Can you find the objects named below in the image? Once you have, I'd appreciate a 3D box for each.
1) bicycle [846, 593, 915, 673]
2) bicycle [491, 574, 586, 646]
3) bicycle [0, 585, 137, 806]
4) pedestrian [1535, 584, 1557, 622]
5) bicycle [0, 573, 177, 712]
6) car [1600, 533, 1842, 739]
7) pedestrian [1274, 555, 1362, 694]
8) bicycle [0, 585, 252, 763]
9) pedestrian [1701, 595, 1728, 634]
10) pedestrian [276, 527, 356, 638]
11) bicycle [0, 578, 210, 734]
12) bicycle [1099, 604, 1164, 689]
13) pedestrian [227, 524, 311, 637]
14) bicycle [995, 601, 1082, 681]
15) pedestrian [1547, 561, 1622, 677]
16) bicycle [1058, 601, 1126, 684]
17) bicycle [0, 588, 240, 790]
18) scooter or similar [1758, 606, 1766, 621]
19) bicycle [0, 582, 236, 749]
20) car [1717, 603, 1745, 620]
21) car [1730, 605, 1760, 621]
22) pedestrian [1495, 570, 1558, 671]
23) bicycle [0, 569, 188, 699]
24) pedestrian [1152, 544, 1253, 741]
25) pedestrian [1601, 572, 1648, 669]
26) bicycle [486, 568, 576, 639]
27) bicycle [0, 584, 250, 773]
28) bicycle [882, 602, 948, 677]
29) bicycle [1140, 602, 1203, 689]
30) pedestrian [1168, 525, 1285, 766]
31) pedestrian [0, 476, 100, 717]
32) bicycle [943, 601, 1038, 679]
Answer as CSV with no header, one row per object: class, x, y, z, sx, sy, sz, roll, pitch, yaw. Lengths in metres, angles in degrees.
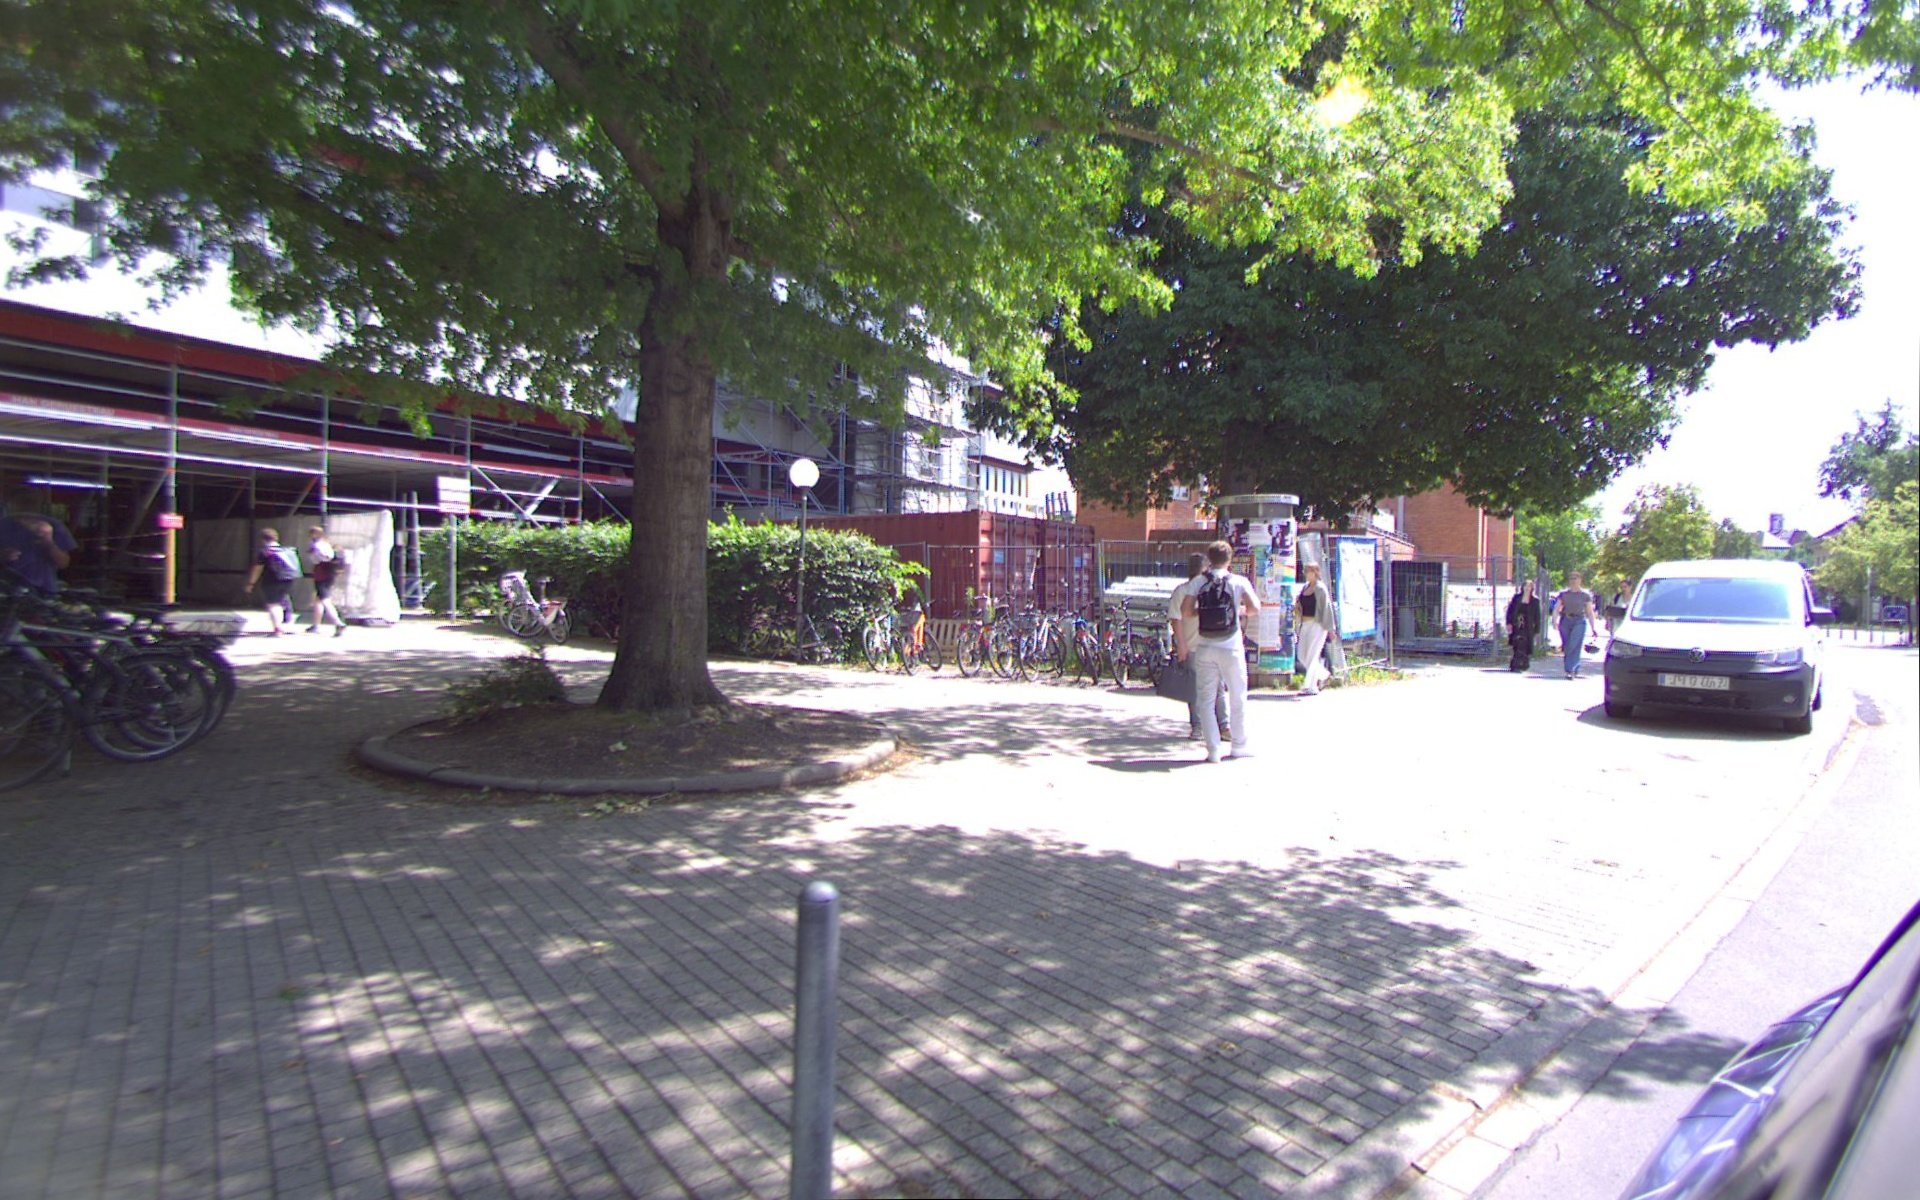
bicycle,-1.174,0.463,15.305,0.492,1.091,1.802,2,2,13
bicycle,-6.860,0.138,16.425,1.860,1.039,0.494,3,2,35
bicycle,-5.420,0.493,5.130,0.617,1.133,1.847,1,1,37
pedestrian,29.510,0.151,50.994,0.838,1.857,1.186,1,0,27
bicycle,-7.869,0.338,8.605,0.497,1.133,1.847,1,1,37
car,9.029,0.313,11.822,1.847,1.915,4.816,2,1,41
pedestrian,4.409,0.288,12.487,0.697,1.652,0.716,1,0,-26
bicycle,-6.077,0.471,7.020,0.497,1.133,1.847,1,1,37
pedestrian,35.918,0.682,48.174,0.818,1.840,1.134,1,0,27
pedestrian,-9.916,-0.274,15.585,0.823,1.656,0.717,1,0,27
bicycle,-7.005,0.404,7.842,0.497,1.133,1.847,1,1,37
bicycle,2.407,0.604,14.040,0.508,1.029,1.796,3,2,21
pedestrian,-10.113,-0.288,14.818,0.752,1.592,0.722,1,0,23
bicycle,1.160,0.554,14.553,0.510,1.029,1.790,3,2,29
pedestrian,9.937,0.286,16.099,0.850,1.786,0.704,2,1,43
bicycle,1.897,0.563,14.334,0.508,1.029,1.796,3,2,21
bicycle,-5.478,0.500,6.056,0.497,1.133,1.847,1,1,37
scooter or similar,66.382,1.114,83.785,0.468,1.231,1.188,1,0,37
bicycle,-6.508,0.443,7.400,0.497,1.133,1.914,1,1,37
car,70.862,1.047,93.054,1.623,1.449,3.592,1,0,31
car,67.668,1.093,87.287,1.689,1.311,3.719,2,1,32
pedestrian,9.471,0.320,16.919,0.668,1.620,0.970,2,1,43
bicycle,-8.301,0.291,9.302,0.497,1.133,1.847,1,1,37
pedestrian,2.196,0.373,9.233,0.731,1.731,0.564,1,0,-3
pedestrian,11.962,0.359,18.222,0.647,1.687,0.893,2,1,33
bicycle,-7.429,0.039,17.499,1.859,1.132,0.494,3,2,34
bicycle,-5.781,0.468,6.524,0.497,1.133,1.910,1,1,37
bicycle,-0.647,0.558,15.103,0.506,0.968,1.802,2,2,13
bicycle,2.890,0.574,13.708,0.508,1.029,1.796,3,2,21
pedestrian,2.122,0.349,8.119,0.709,1.844,0.630,1,0,-4
pedestrian,-7.484,-0.031,8.155,0.542,1.860,0.751,1,1,38
bicycle,0.475,0.549,14.843,0.511,1.029,1.787,3,2,33
